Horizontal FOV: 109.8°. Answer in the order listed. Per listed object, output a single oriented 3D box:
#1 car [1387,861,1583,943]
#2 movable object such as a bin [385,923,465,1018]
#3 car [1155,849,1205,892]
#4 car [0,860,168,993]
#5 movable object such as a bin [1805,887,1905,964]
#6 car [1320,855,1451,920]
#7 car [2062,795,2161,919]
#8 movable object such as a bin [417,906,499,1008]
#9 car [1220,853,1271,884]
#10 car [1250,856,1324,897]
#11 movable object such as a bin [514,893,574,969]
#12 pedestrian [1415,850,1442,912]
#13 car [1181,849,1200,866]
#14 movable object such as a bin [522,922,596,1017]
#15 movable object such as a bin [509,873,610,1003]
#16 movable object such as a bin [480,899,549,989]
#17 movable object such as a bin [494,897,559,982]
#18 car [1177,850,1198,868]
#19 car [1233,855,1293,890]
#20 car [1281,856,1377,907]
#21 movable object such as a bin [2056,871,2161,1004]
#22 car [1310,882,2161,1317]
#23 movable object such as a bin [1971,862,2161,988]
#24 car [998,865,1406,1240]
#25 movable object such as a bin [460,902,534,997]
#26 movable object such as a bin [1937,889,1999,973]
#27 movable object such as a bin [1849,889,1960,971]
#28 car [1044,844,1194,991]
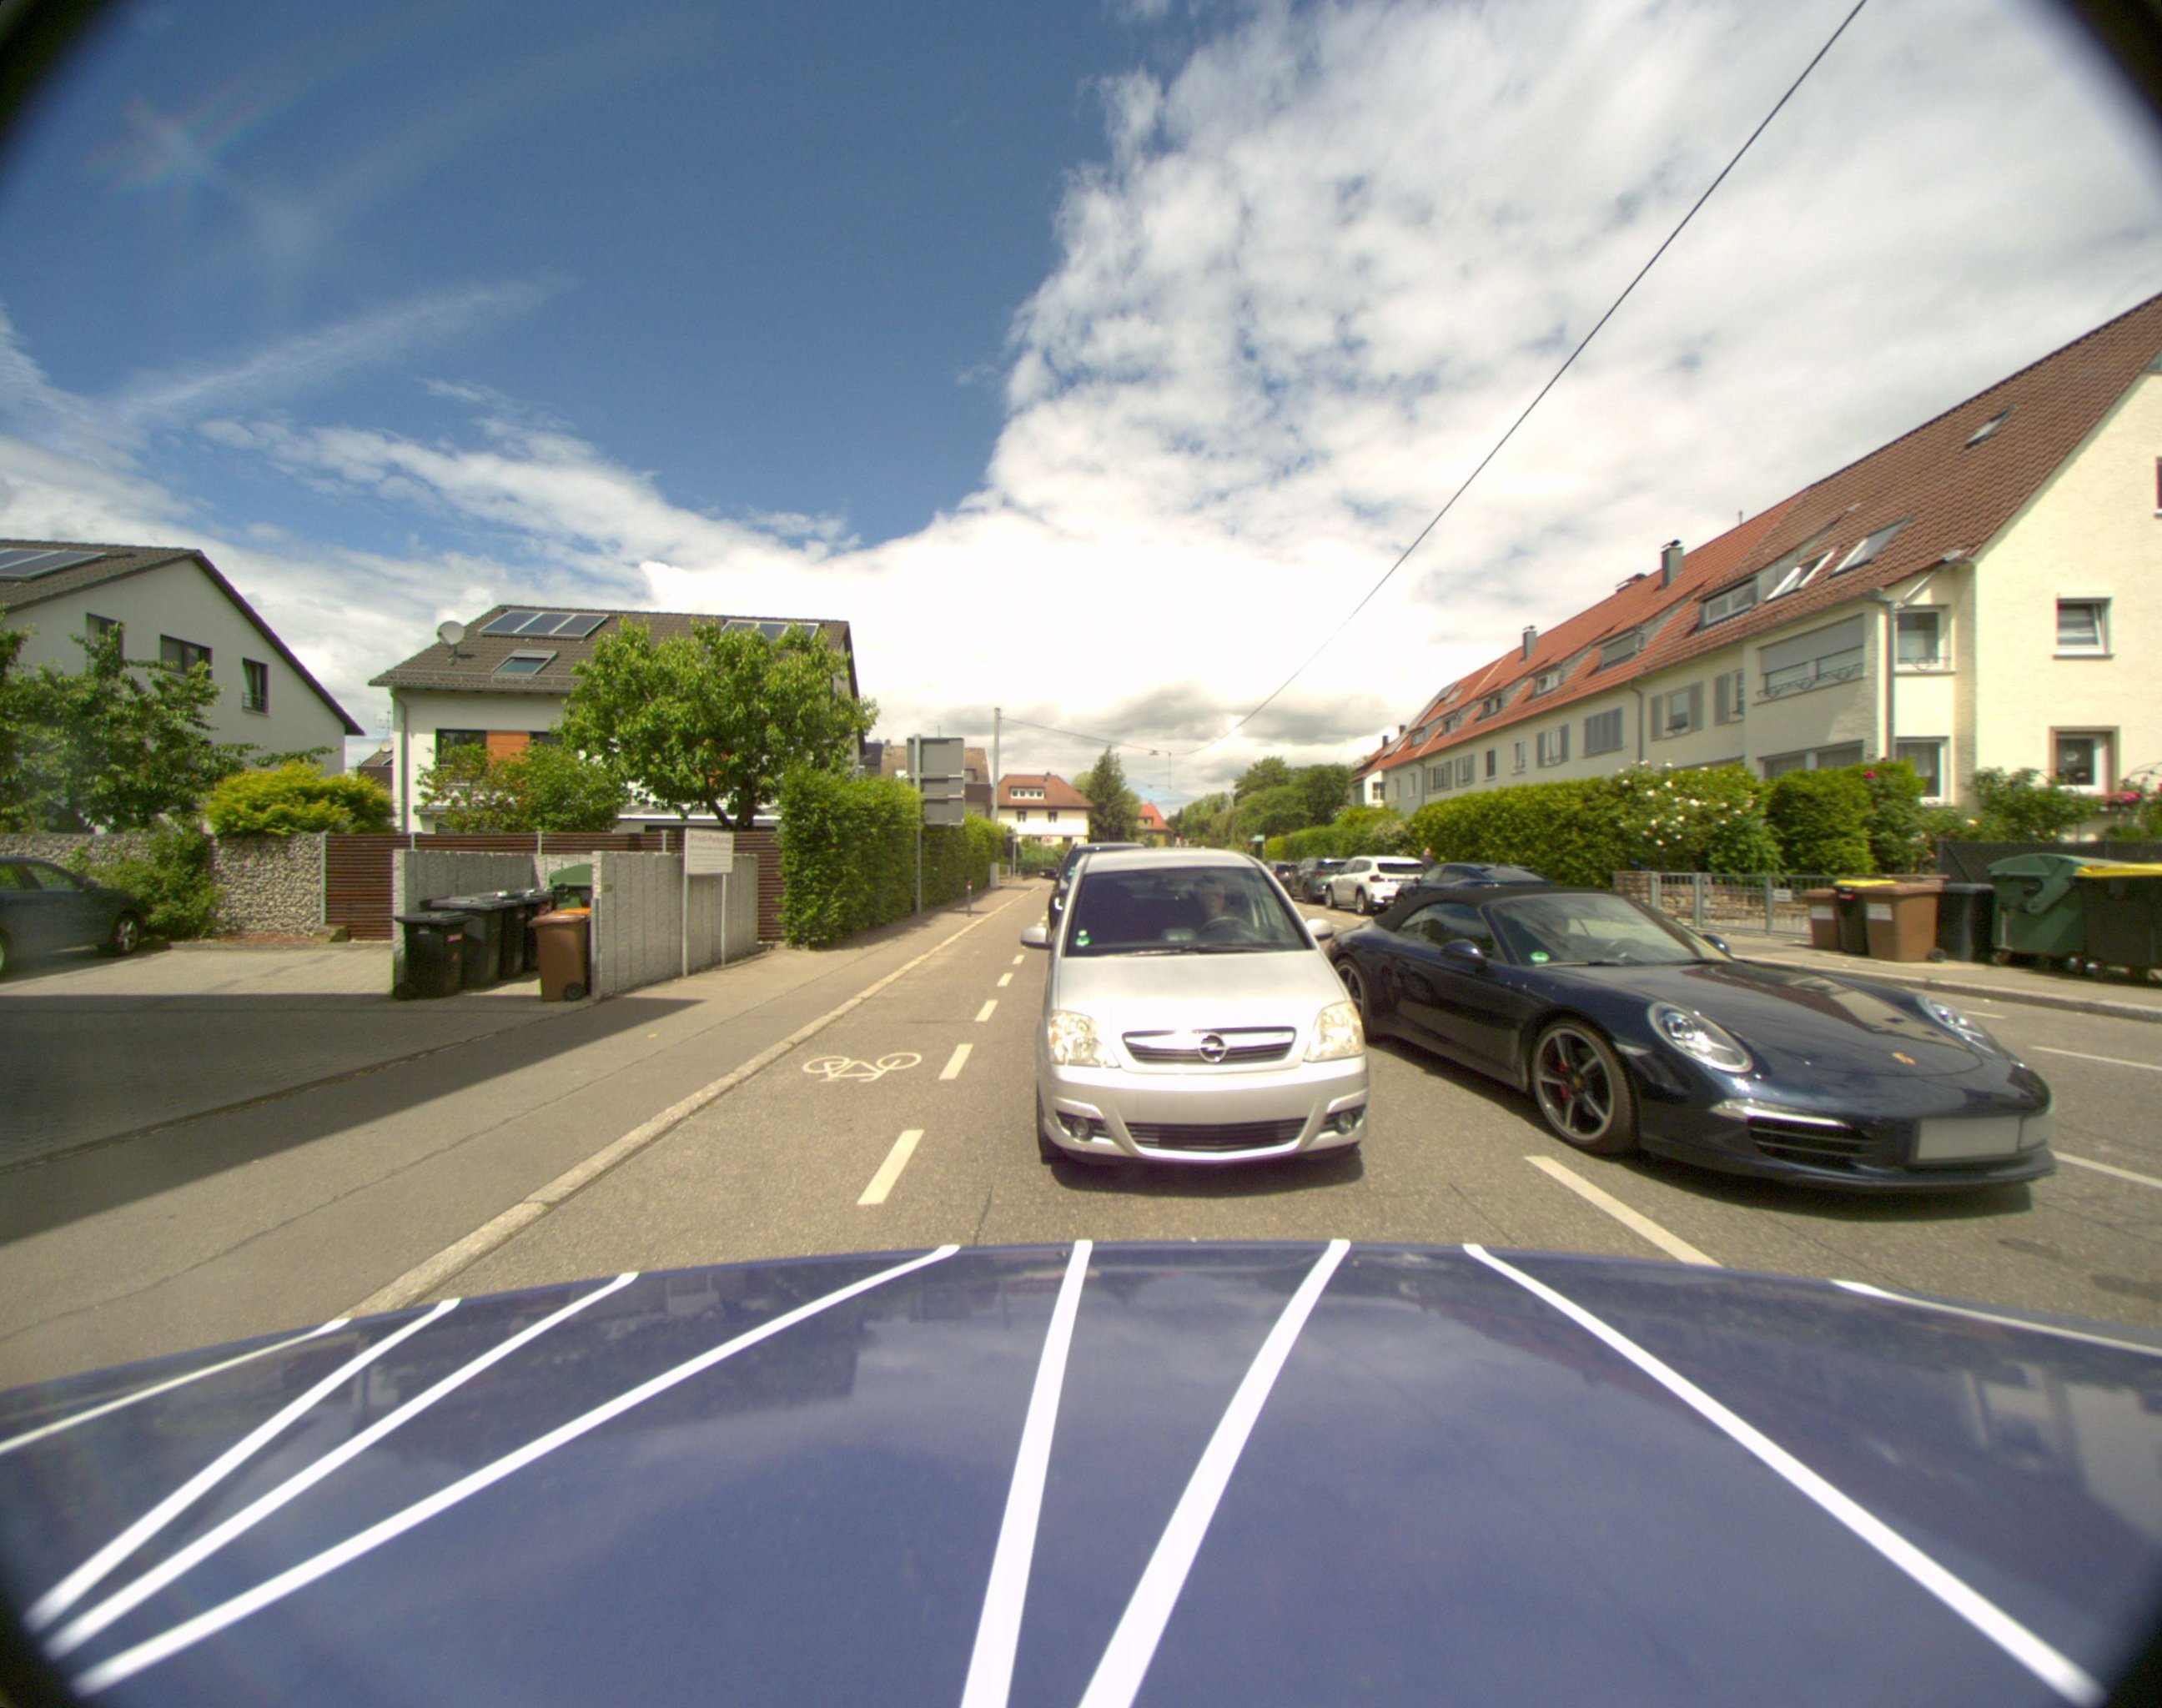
[{"bbox_3d":[8.622,0.944,16.751,1.819,1.492,4.452,-1,0,-2],"label":"car"},{"bbox_3d":[-7.068,1.240,8.203,0.519,0.916,0.478,-1,1,-24],"label":"movable object such as a bin"},{"bbox_3d":[4.676,0.733,36.499,1.998,1.903,4.070,-1,0,2],"label":"car"},{"bbox_3d":[-14.825,0.931,10.058,2.003,1.587,3.991,-1,1,-26],"label":"car"},{"bbox_3d":[11.343,1.040,11.162,0.763,1.059,0.693,-1,0,7],"label":"movable object such as a bin"},{"bbox_3d":[8.547,0.878,21.820,1.998,1.623,4.453,-1,0,0],"label":"car"},{"bbox_3d":[19.481,0.006,12.539,3.997,2.002,2.000,-1,0,0],"label":"car"},{"bbox_3d":[-7.135,1.161,8.723,0.596,1.069,0.488,-1,1,-24],"label":"movable object such as a bin"},{"bbox_3d":[9.258,0.798,43.070,1.998,1.623,4.236,-1,0,0],"label":"car"},{"bbox_3d":[8.698,0.905,32.482,1.998,1.623,4.236,0,0,0],"label":"car"},{"bbox_3d":[-8.082,1.144,11.453,0.596,1.069,0.488,-1,1,-19],"label":"movable object such as a bin"},{"bbox_3d":[10.259,0.786,22.450,0.533,1.805,0.511,-1,1,-4],"label":"pedestrian"},{"bbox_3d":[12.780,0.356,88.604,1.997,1.903,4.072,-1,0,11],"label":"car"},{"bbox_3d":[-5.557,1.213,8.109,0.519,0.916,0.478,-1,1,-18],"label":"movable object such as a bin"},{"bbox_3d":[-6.099,0.965,8.912,0.809,1.446,0.479,-1,1,-4],"label":"movable object such as a bin"},{"bbox_3d":[-7.298,1.145,9.815,0.596,1.069,0.488,-1,1,-24],"label":"movable object such as a bin"},{"bbox_3d":[-7.509,1.135,10.301,0.596,1.069,0.488,-1,1,-24],"label":"movable object such as a bin"},{"bbox_3d":[11.454,0.489,81.458,1.997,1.903,4.072,-1,0,11],"label":"car"},{"bbox_3d":[8.992,0.868,37.882,1.998,1.623,4.236,-1,0,0],"label":"car"},{"bbox_3d":[8.658,0.915,26.927,1.998,1.623,4.236,-1,0,0],"label":"car"},{"bbox_3d":[11.800,0.880,8.284,1.092,1.354,0.981,-1,0,0],"label":"movable object such as a bin"},{"bbox_3d":[3.194,0.949,4.811,1.816,1.356,4.041,-1,0,-8],"label":"car"},{"bbox_3d":[12.095,0.834,9.372,1.092,1.438,0.981,-1,0,0],"label":"movable object such as a bin"},{"bbox_3d":[0.549,0.909,5.350,1.774,1.566,4.001,-1,0,0],"label":"car"},{"bbox_3d":[-7.140,1.154,9.316,0.596,1.069,0.488,-1,1,-24],"label":"movable object such as a bin"},{"bbox_3d":[12.007,1.017,10.280,0.657,1.059,0.522,-1,1,-39],"label":"movable object such as a bin"},{"bbox_3d":[11.251,1.026,10.411,0.763,1.059,0.693,-1,0,7],"label":"movable object such as a bin"},{"bbox_3d":[0.424,0.809,12.291,1.887,1.838,5.220,-1,0,-1],"label":"car"}]
